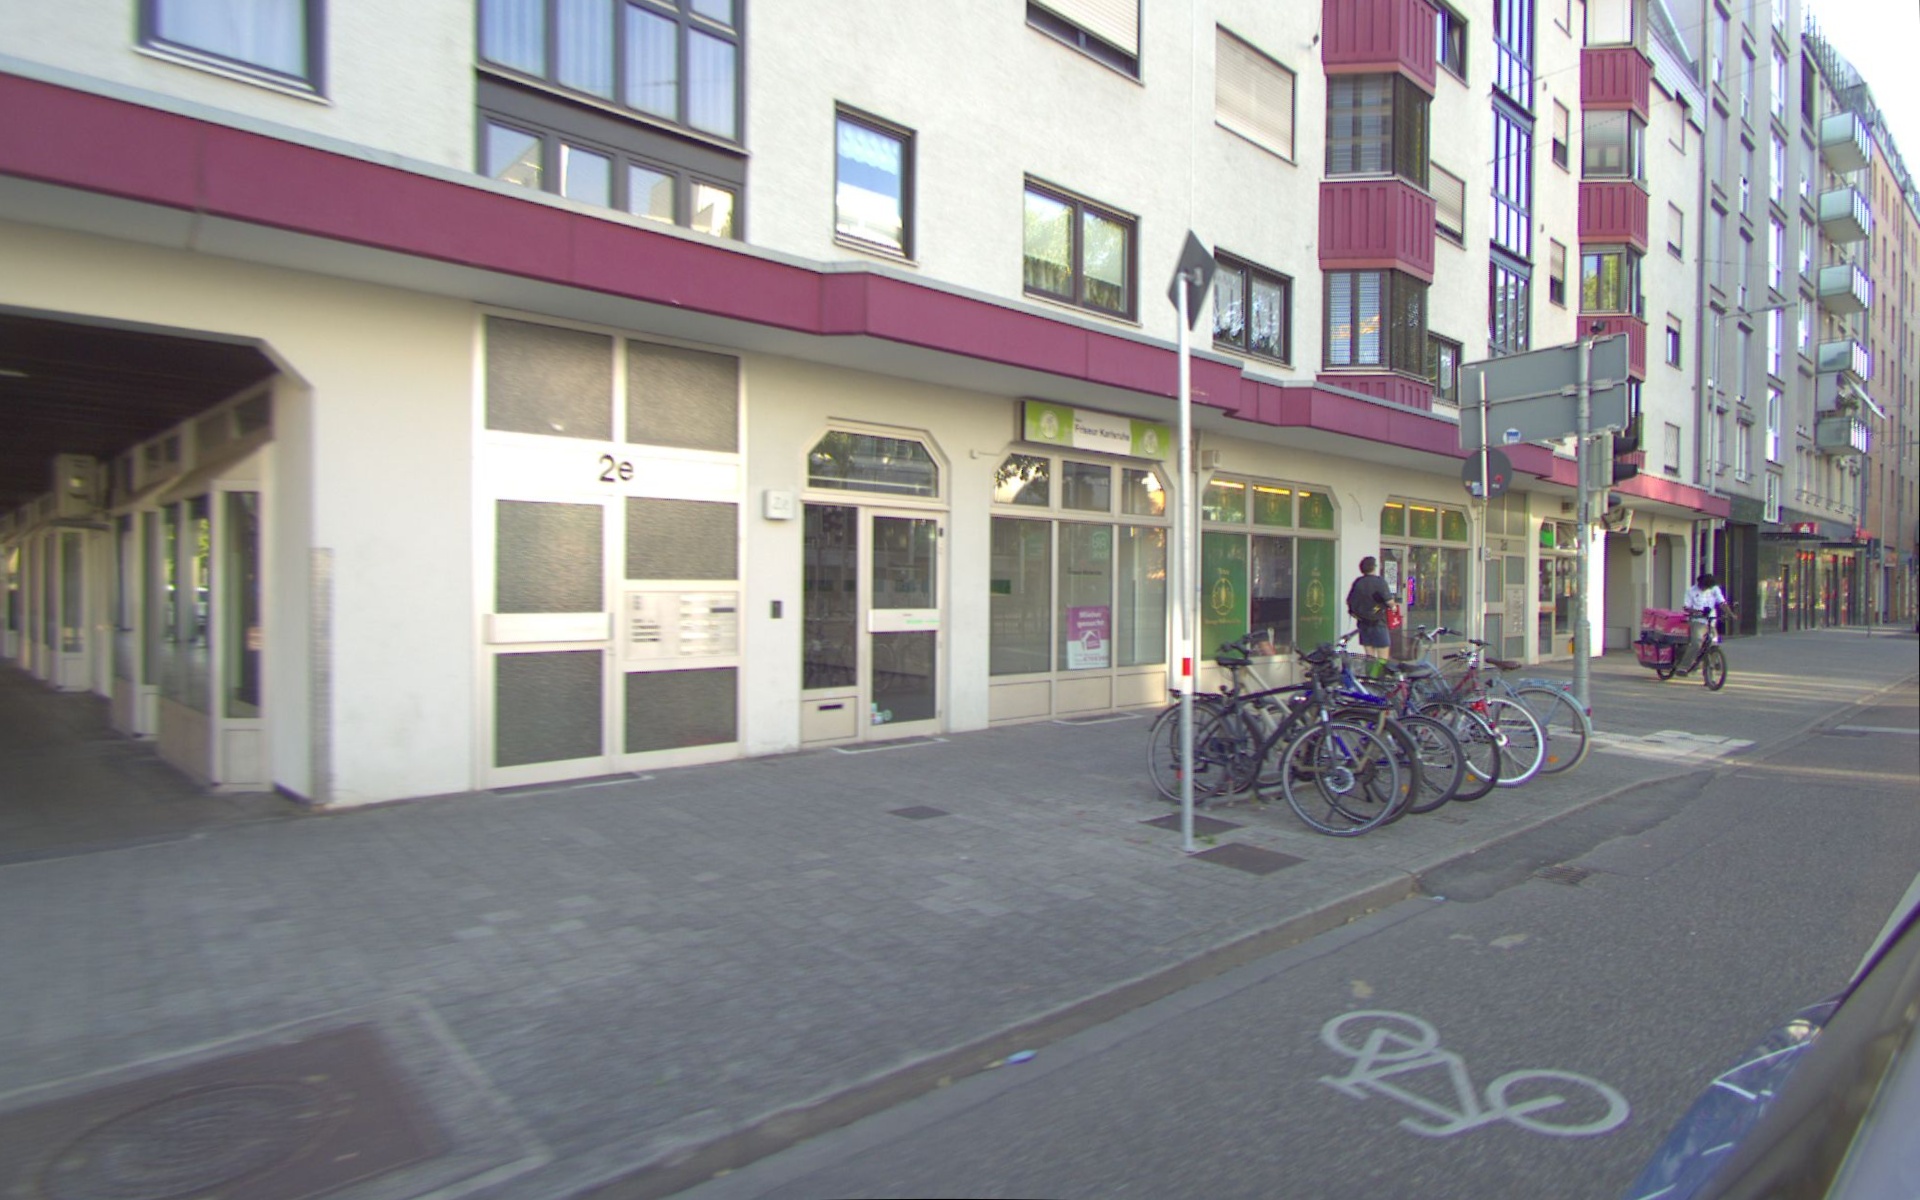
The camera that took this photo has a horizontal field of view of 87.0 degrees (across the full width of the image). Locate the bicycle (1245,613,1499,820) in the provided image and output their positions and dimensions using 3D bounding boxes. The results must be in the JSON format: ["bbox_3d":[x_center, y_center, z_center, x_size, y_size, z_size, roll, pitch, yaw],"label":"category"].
[{"bbox_3d":[2.789,0.726,7.015,0.487,1.214,1.628,0,1,-35],"label":"bicycle"}]

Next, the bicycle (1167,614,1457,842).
[{"bbox_3d":[2.204,0.734,6.575,0.535,1.214,1.808,0,1,-35],"label":"bicycle"}]

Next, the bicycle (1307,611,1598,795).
[{"bbox_3d":[3.787,0.724,7.934,0.581,1.214,1.978,-1,1,-44],"label":"bicycle"}]

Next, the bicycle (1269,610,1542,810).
[{"bbox_3d":[3.185,0.721,7.415,0.487,1.236,1.836,0,1,-36],"label":"bicycle"}]

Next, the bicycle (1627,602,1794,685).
[{"bbox_3d":[12.151,0.655,16.529,0.946,1.198,2.595,0,1,5],"label":"bicycle"}]

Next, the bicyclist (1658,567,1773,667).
[{"bbox_3d":[12.136,0.255,16.301,1.041,1.559,1.078,0,1,5],"label":"bicyclist"}]

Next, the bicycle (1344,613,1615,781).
[{"bbox_3d":[4.259,0.736,8.440,0.562,1.185,1.942,-1,1,-42],"label":"bicycle"}]

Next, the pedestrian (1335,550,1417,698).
[{"bbox_3d":[5.501,0.291,13.389,0.787,1.881,0.724,0,1,-41],"label":"pedestrian"}]
